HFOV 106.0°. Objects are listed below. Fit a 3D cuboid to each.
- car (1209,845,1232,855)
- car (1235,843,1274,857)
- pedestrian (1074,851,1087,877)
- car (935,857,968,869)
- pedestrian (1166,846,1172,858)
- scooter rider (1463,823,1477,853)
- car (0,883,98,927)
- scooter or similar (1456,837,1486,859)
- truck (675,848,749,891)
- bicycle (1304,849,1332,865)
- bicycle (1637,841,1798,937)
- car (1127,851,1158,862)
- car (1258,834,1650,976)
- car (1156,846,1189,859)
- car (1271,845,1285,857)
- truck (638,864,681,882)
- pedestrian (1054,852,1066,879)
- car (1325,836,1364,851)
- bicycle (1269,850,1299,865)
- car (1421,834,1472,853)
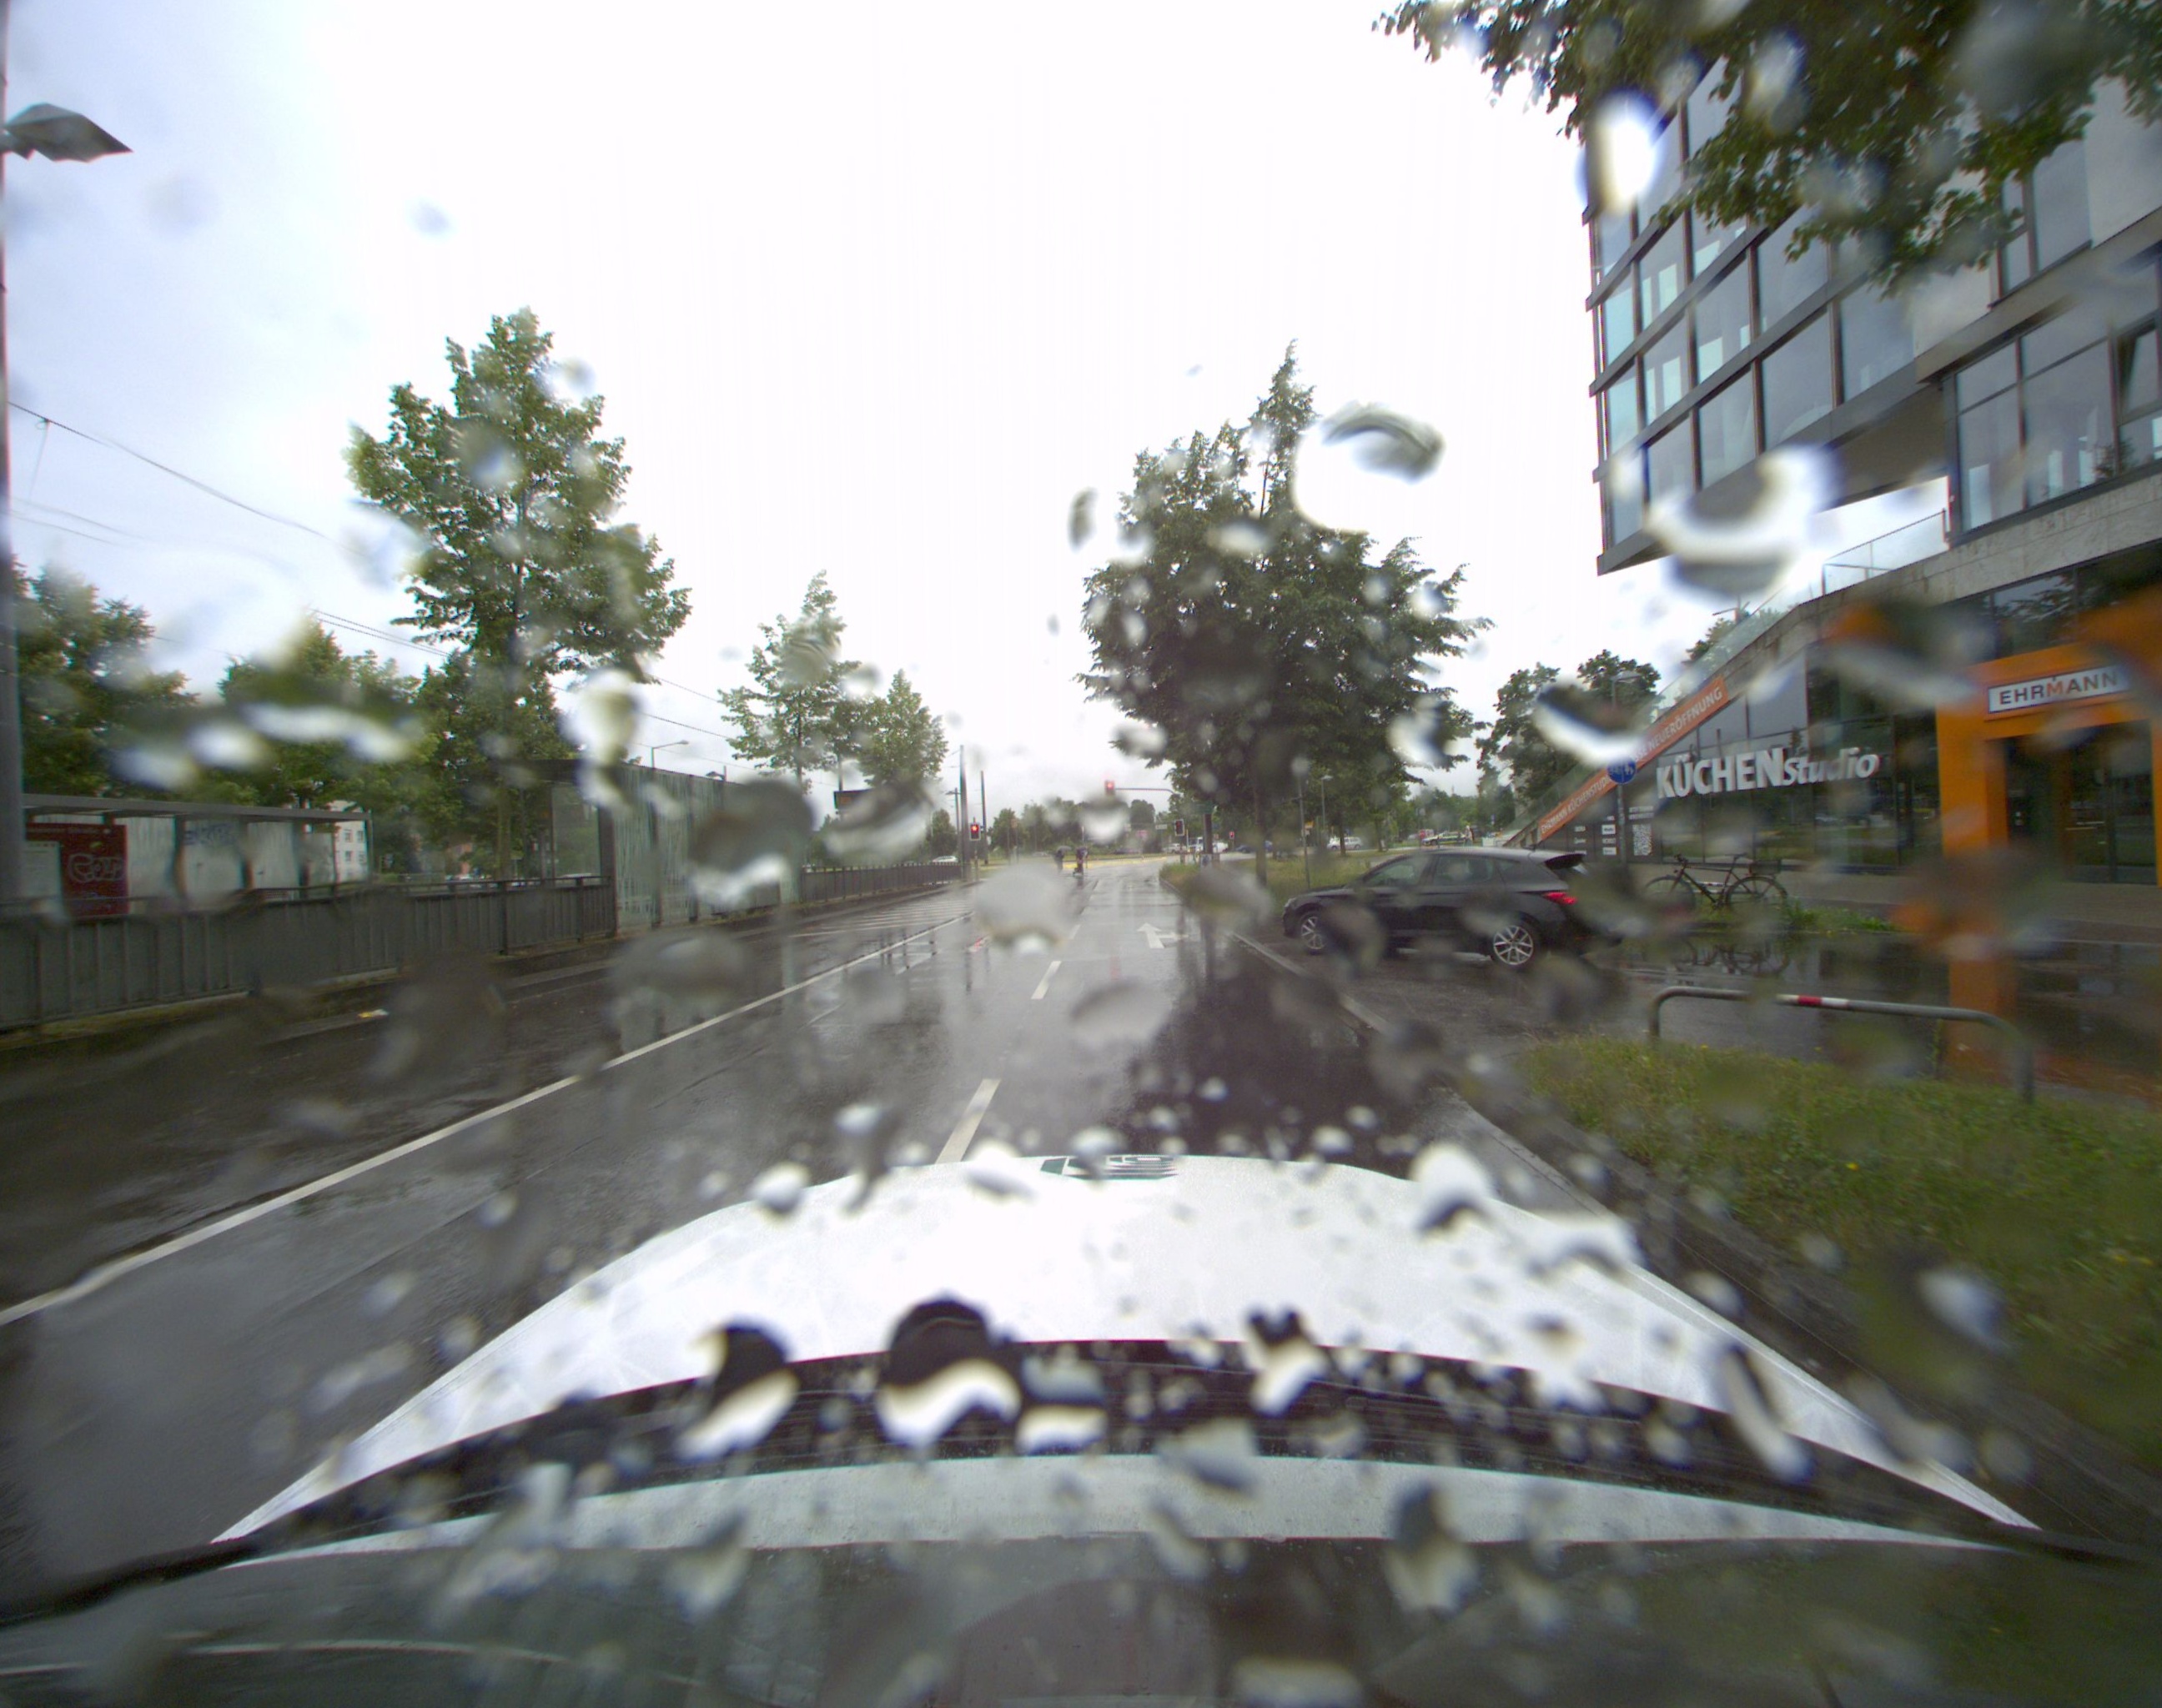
[{"bbox_3d":[23.572,-0.641,137.110,1.779,1.662,4.159,-1,-1,44],"label":"car"},{"bbox_3d":[19.843,-0.475,93.250,3.936,1.454,1.634,-2,0,31],"label":"car"},{"bbox_3d":[-0.033,0.605,47.312,0.678,1.461,0.573,-4,-1,-1],"label":"pedestrian"},{"bbox_3d":[-18.813,1.262,118.282,4.616,1.454,1.615,-3,0,-15],"label":"car"},{"bbox_3d":[10.152,-0.254,93.935,0.448,1.304,0.489,-2,0,42],"label":"pedestrian"},{"bbox_3d":[23.100,-0.958,48.371,0.530,1.709,0.434,-3,0,-3],"label":"scooter rider"},{"bbox_3d":[-62.610,3.049,47.776,1.606,2.278,6.126,-3,0,15],"label":"car"},{"bbox_3d":[23.135,-0.360,48.349,1.581,1.259,0.447,0,-1,-3],"label":"scooter or similar"},{"bbox_3d":[-34.329,1.394,75.533,9.065,3.778,2.712,-1,-1,40],"label":"truck"},{"bbox_3d":[11.919,0.147,40.968,0.453,0.787,2.000,0,-1,-13],"label":"bicycle"},{"bbox_3d":[9.501,0.514,12.242,1.825,1.346,0.536,-1,1,28],"label":"bicycle"},{"bbox_3d":[8.284,0.342,110.063,3.937,1.454,1.633,-2,0,43],"label":"car"},{"bbox_3d":[4.662,0.547,10.744,1.842,1.420,4.295,-4,2,-39],"label":"car"},{"bbox_3d":[11.578,-0.135,103.357,1.633,1.454,4.061,-3,0,-45],"label":"car"},{"bbox_3d":[26.481,-0.384,109.179,1.606,1.454,4.004,-2,0,16],"label":"car"},{"bbox_3d":[-48.269,2.192,93.345,1.813,2.014,4.024,-1,-1,29],"label":"truck"},{"bbox_3d":[-1.202,0.647,46.159,0.618,1.522,0.741,-1,0,2],"label":"pedestrian"},{"bbox_3d":[29.413,-1.166,90.853,3.947,1.454,1.629,-2,0,12],"label":"car"},{"bbox_3d":[10.902,0.186,43.758,0.381,0.787,1.841,0,-1,-30],"label":"bicycle"},{"bbox_3d":[40.429,-1.170,90.078,4.747,1.851,1.999,-3,0,-2],"label":"car"}]
